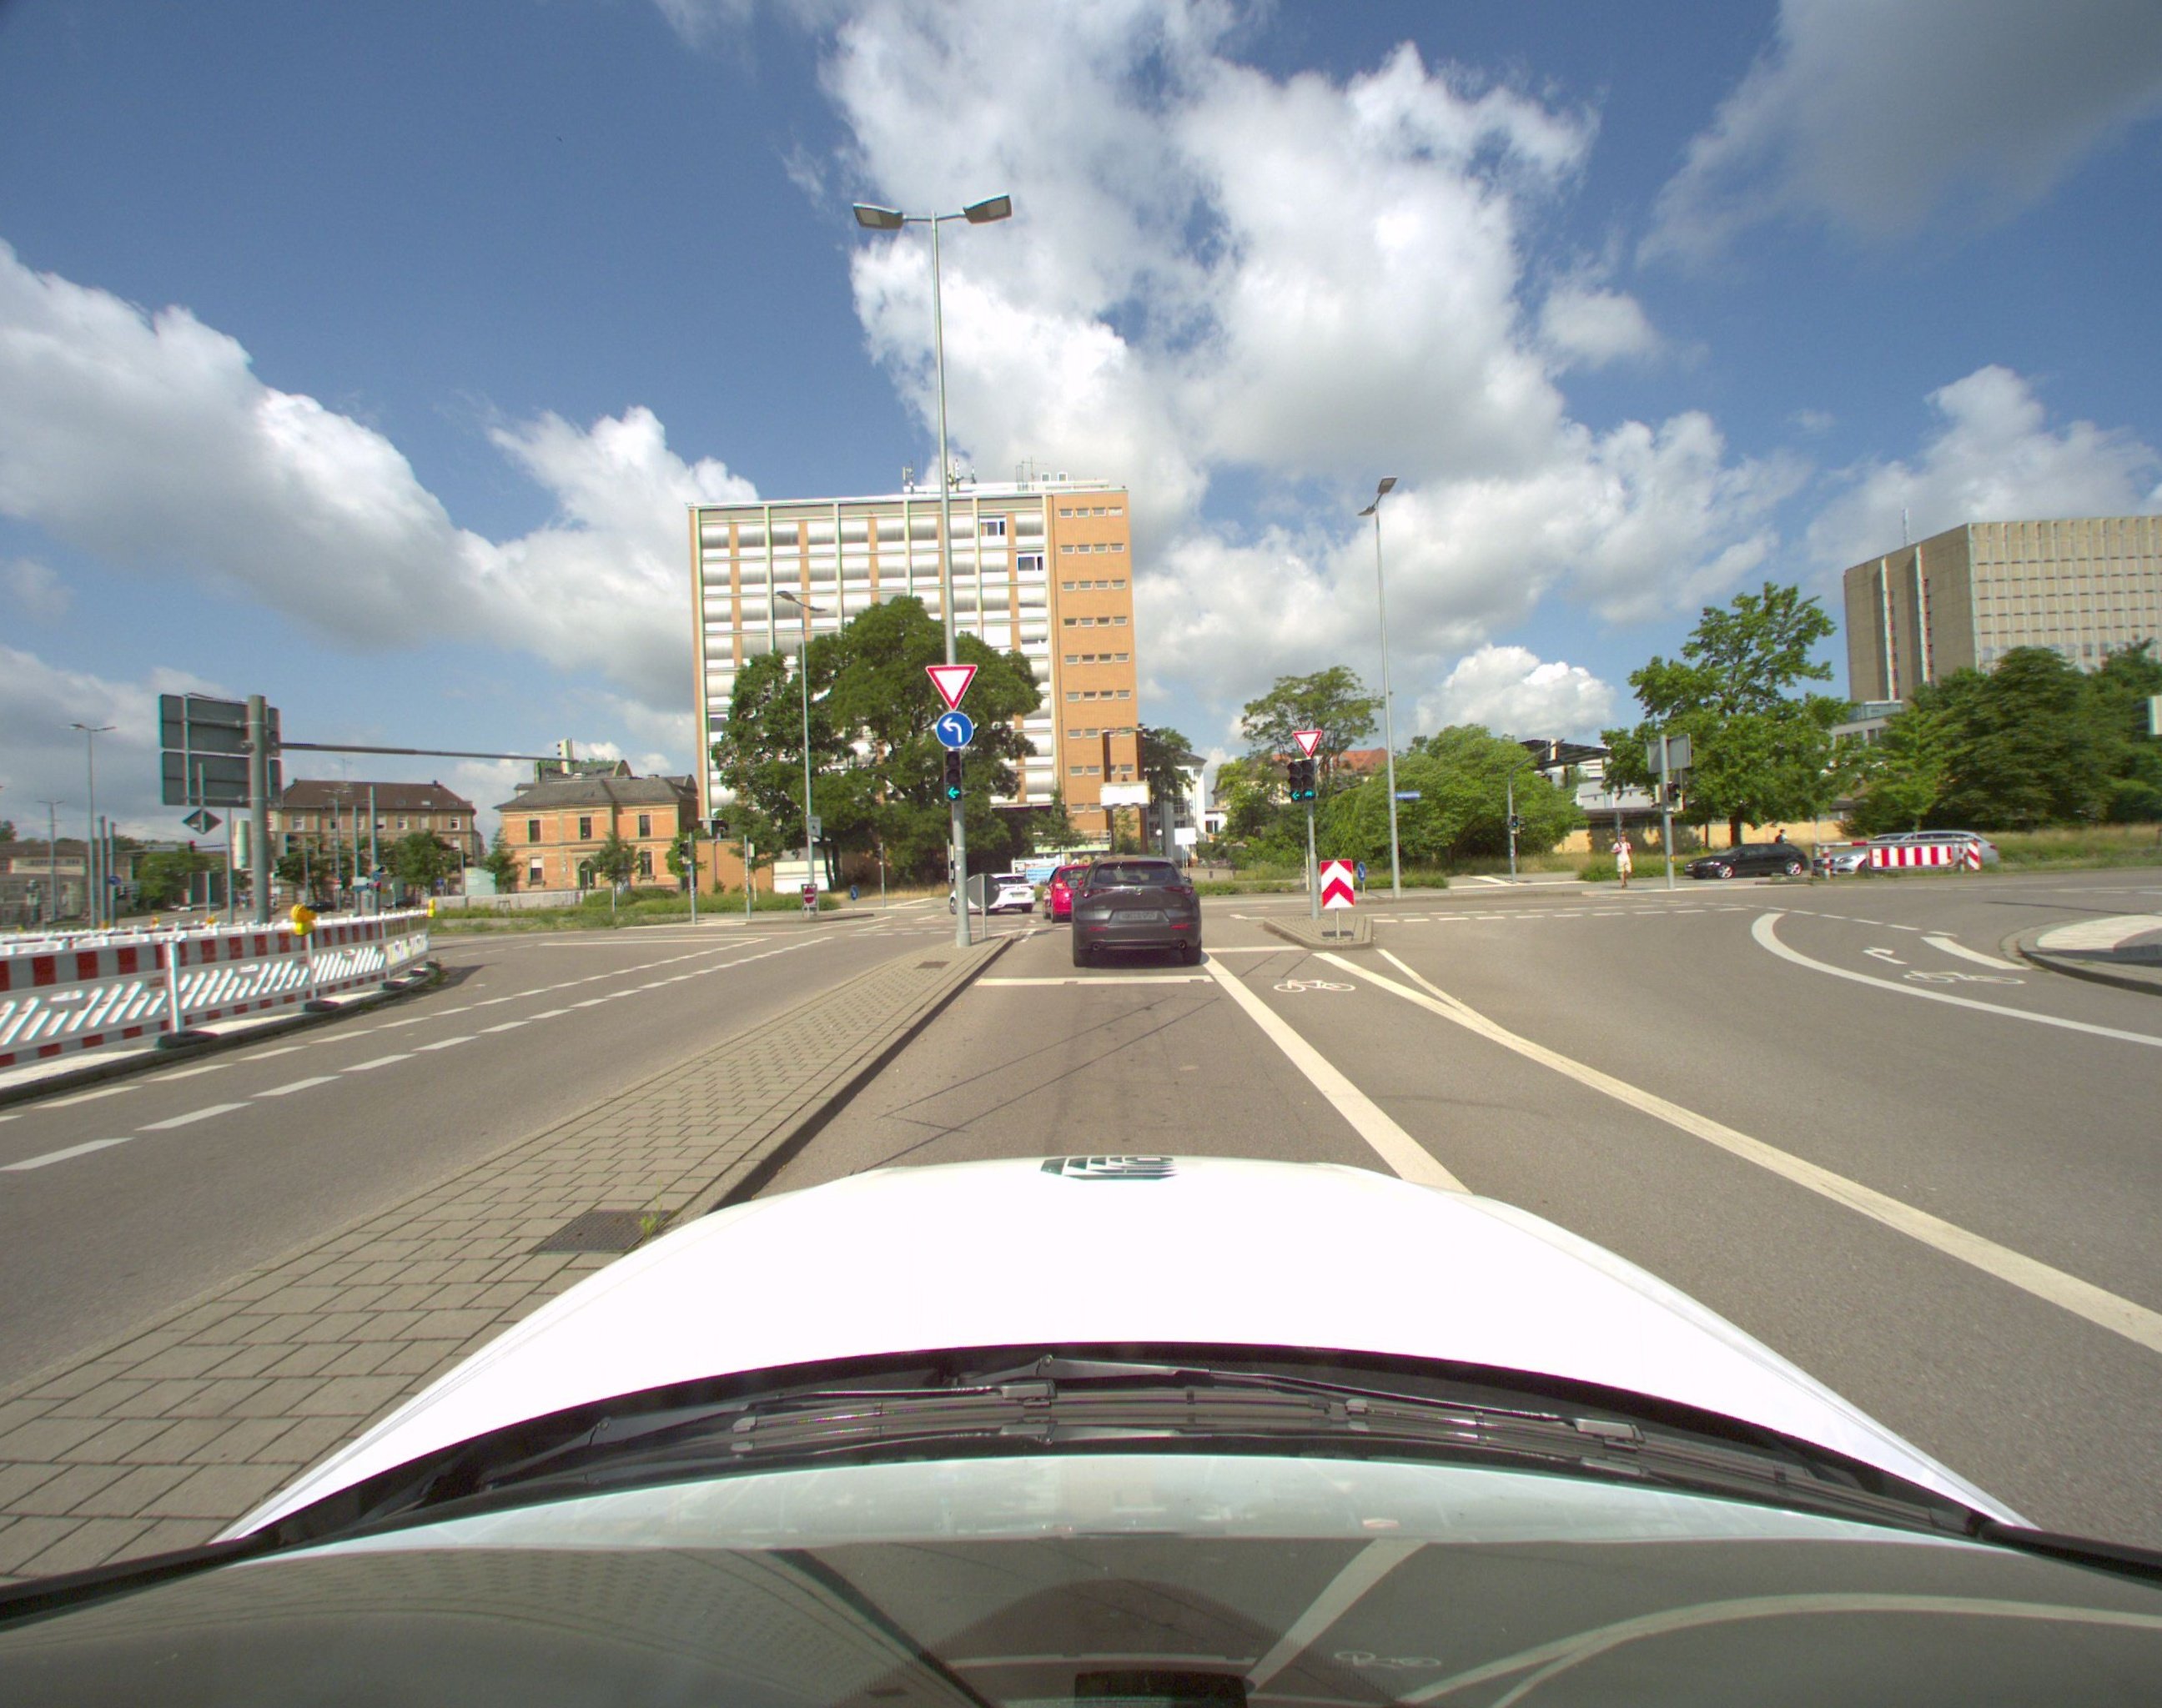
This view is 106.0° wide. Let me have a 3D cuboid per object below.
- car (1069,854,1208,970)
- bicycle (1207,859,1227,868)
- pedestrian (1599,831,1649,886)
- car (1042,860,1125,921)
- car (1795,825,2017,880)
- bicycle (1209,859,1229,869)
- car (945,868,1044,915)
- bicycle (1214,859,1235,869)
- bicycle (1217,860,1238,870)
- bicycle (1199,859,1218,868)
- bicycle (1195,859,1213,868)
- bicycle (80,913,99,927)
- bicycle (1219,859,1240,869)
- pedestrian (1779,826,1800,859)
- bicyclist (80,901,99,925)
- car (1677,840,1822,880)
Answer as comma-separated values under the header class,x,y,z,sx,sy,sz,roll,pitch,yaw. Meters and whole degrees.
class,x,y,z,sx,sy,sz,roll,pitch,yaw
car,0.785,0.765,12.704,1.800,1.508,4.205,0,0,1
bicycle,15.307,1.107,91.802,2.048,0.936,0.804,-3,-1,0
pedestrian,18.899,0.171,28.364,0.696,1.857,1.177,-2,-3,-9
car,-0.039,0.930,21.709,1.814,1.439,4.059,-1,-1,-6
car,26.379,-0.003,26.223,4.741,1.442,2.065,-3,-3,6
bicycle,15.360,1.101,90.808,2.048,0.936,0.804,-3,-1,0
car,-3.217,1.373,29.499,1.860,1.472,4.292,-2,-2,-31
bicycle,15.384,1.073,87.333,2.048,0.936,0.804,-3,-1,0
bicycle,15.002,1.142,83.348,2.048,0.936,0.804,-3,-1,0
bicycle,14.989,1.140,95.545,2.048,0.936,0.804,-3,-1,0
bicycle,15.194,1.174,100.403,2.048,0.936,0.804,-3,-1,0
bicycle,-77.387,5.157,63.558,0.622,1.002,1.994,-1,-2,-42
bicycle,15.687,1.060,85.995,2.048,0.936,0.804,-3,-1,0
pedestrian,35.111,-0.568,40.375,0.521,1.608,0.541,0,-1,-2
bicyclist,-77.485,4.620,63.639,0.818,1.823,1.145,-1,-2,-44
car,27.223,0.242,33.301,4.125,1.377,2.004,-3,0,6
